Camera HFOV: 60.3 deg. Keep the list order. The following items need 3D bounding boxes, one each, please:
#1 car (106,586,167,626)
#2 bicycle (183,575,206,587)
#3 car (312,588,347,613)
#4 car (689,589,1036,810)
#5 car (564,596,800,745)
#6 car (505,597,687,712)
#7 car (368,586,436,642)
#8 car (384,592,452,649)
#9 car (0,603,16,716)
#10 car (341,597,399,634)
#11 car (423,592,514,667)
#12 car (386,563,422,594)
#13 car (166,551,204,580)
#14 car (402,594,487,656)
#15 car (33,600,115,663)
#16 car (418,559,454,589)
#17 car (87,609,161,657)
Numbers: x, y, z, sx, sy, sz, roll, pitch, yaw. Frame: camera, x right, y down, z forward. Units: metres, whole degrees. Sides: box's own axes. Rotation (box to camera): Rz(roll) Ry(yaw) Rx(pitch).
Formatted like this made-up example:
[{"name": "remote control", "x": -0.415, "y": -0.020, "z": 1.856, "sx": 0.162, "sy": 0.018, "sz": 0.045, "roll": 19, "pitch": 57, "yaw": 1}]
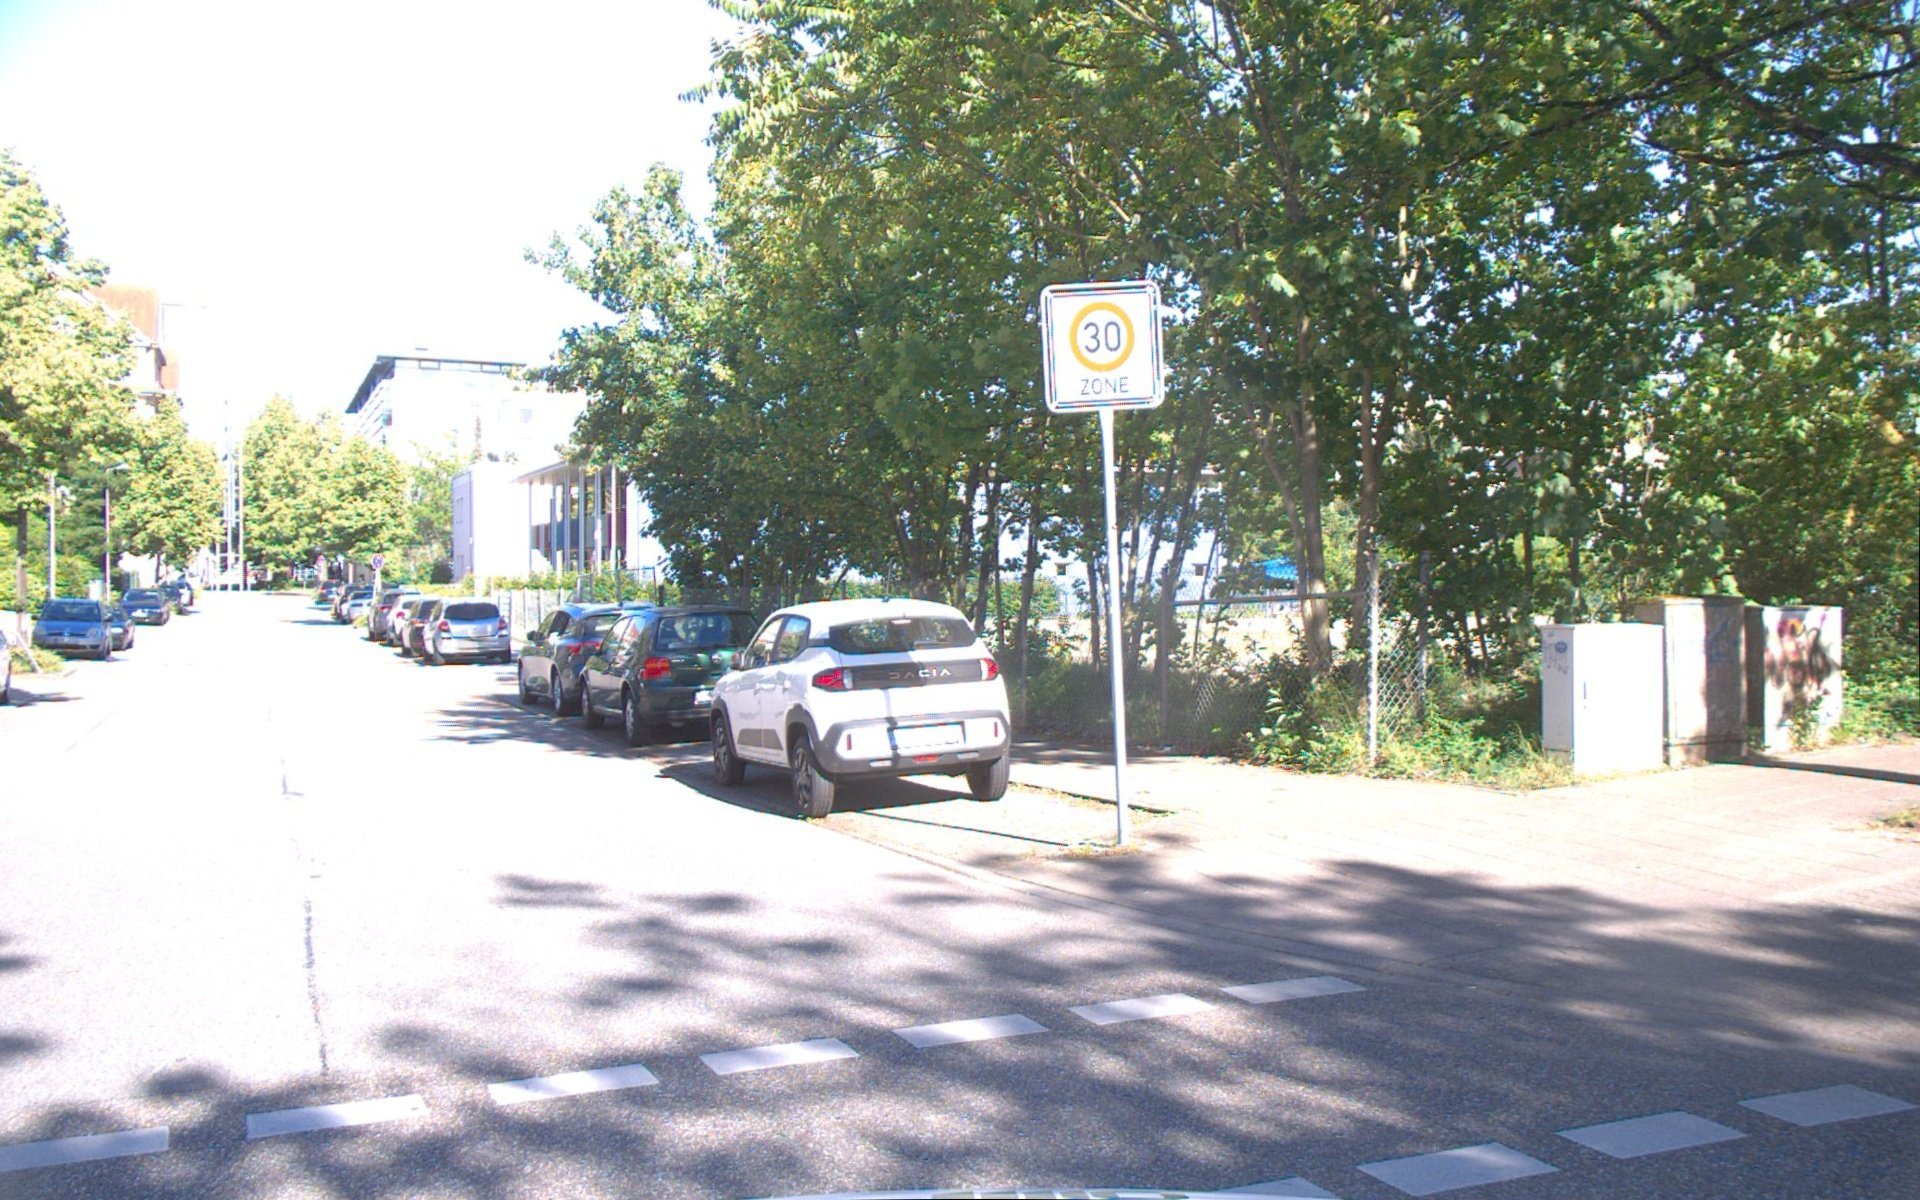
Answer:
[{"name": "car", "x": -34.137, "y": 0.236, "z": 68.677, "sx": 1.735, "sy": 1.554, "sz": 3.977, "roll": 2, "pitch": 0, "yaw": -20}, {"name": "bicycle", "x": -54.688, "y": -1.360, "z": 118.176, "sx": 1.450, "sy": 0.857, "sz": 0.332, "roll": 0, "pitch": 2, "yaw": -28}, {"name": "car", "x": -40.104, "y": 0.031, "z": 105.177, "sx": 1.967, "sy": 1.512, "sz": 3.971, "roll": -1, "pitch": 0, "yaw": -23}, {"name": "car", "x": -0.950, "y": 0.692, "z": 13.244, "sx": 1.597, "sy": 1.476, "sz": 4.063, "roll": 0, "pitch": -1, "yaw": -22}, {"name": "car", "x": -3.300, "y": 0.717, "z": 18.986, "sx": 1.800, "sy": 1.497, "sz": 4.040, "roll": 0, "pitch": 0, "yaw": -23}, {"name": "car", "x": -5.241, "y": 0.692, "z": 23.416, "sx": 1.654, "sy": 1.463, "sz": 4.405, "roll": 0, "pitch": 0, "yaw": -24}, {"name": "car", "x": -18.550, "y": 0.416, "z": 54.870, "sx": 1.703, "sy": 1.681, "sz": 4.294, "roll": -3, "pitch": 2, "yaw": -24}, {"name": "car", "x": -16.472, "y": 0.583, "z": 50.177, "sx": 1.657, "sy": 1.569, "sz": 3.821, "roll": 0, "pitch": 2, "yaw": -23}, {"name": "car", "x": -14.896, "y": 0.859, "z": 24.190, "sx": 1.639, "sy": 1.559, "sz": 4.250, "roll": -1, "pitch": 1, "yaw": -27}, {"name": "car", "x": -25.618, "y": 0.634, "z": 71.742, "sx": 1.808, "sy": 1.447, "sz": 4.197, "roll": -3, "pitch": 2, "yaw": -26}, {"name": "car", "x": -11.517, "y": 0.637, "z": 38.598, "sx": 1.640, "sy": 1.539, "sz": 3.973, "roll": 0, "pitch": 2, "yaw": -23}, {"name": "car", "x": -37.988, "y": -1.468, "z": 112.913, "sx": 1.997, "sy": 2.049, "sz": 3.971, "roll": -1, "pitch": 0, "yaw": -23}, {"name": "car", "x": -44.327, "y": -1.977, "z": 94.651, "sx": 1.753, "sy": 1.557, "sz": 3.971, "roll": -1, "pitch": 0, "yaw": -23}, {"name": "car", "x": -13.405, "y": 0.616, "z": 42.880, "sx": 1.665, "sy": 1.520, "sz": 4.048, "roll": 0, "pitch": 0, "yaw": -24}, {"name": "car", "x": -22.699, "y": 0.773, "z": 42.472, "sx": 1.590, "sy": 1.490, "sz": 3.845, "roll": -1, "pitch": 1, "yaw": -24}, {"name": "car", "x": -36.140, "y": -1.805, "z": 114.025, "sx": 1.967, "sy": 2.049, "sz": 3.972, "roll": -1, "pitch": 1, "yaw": -23}, {"name": "car", "x": -24.082, "y": 0.925, "z": 47.736, "sx": 1.577, "sy": 1.238, "sz": 3.849, "roll": 2, "pitch": 0, "yaw": -22}]
